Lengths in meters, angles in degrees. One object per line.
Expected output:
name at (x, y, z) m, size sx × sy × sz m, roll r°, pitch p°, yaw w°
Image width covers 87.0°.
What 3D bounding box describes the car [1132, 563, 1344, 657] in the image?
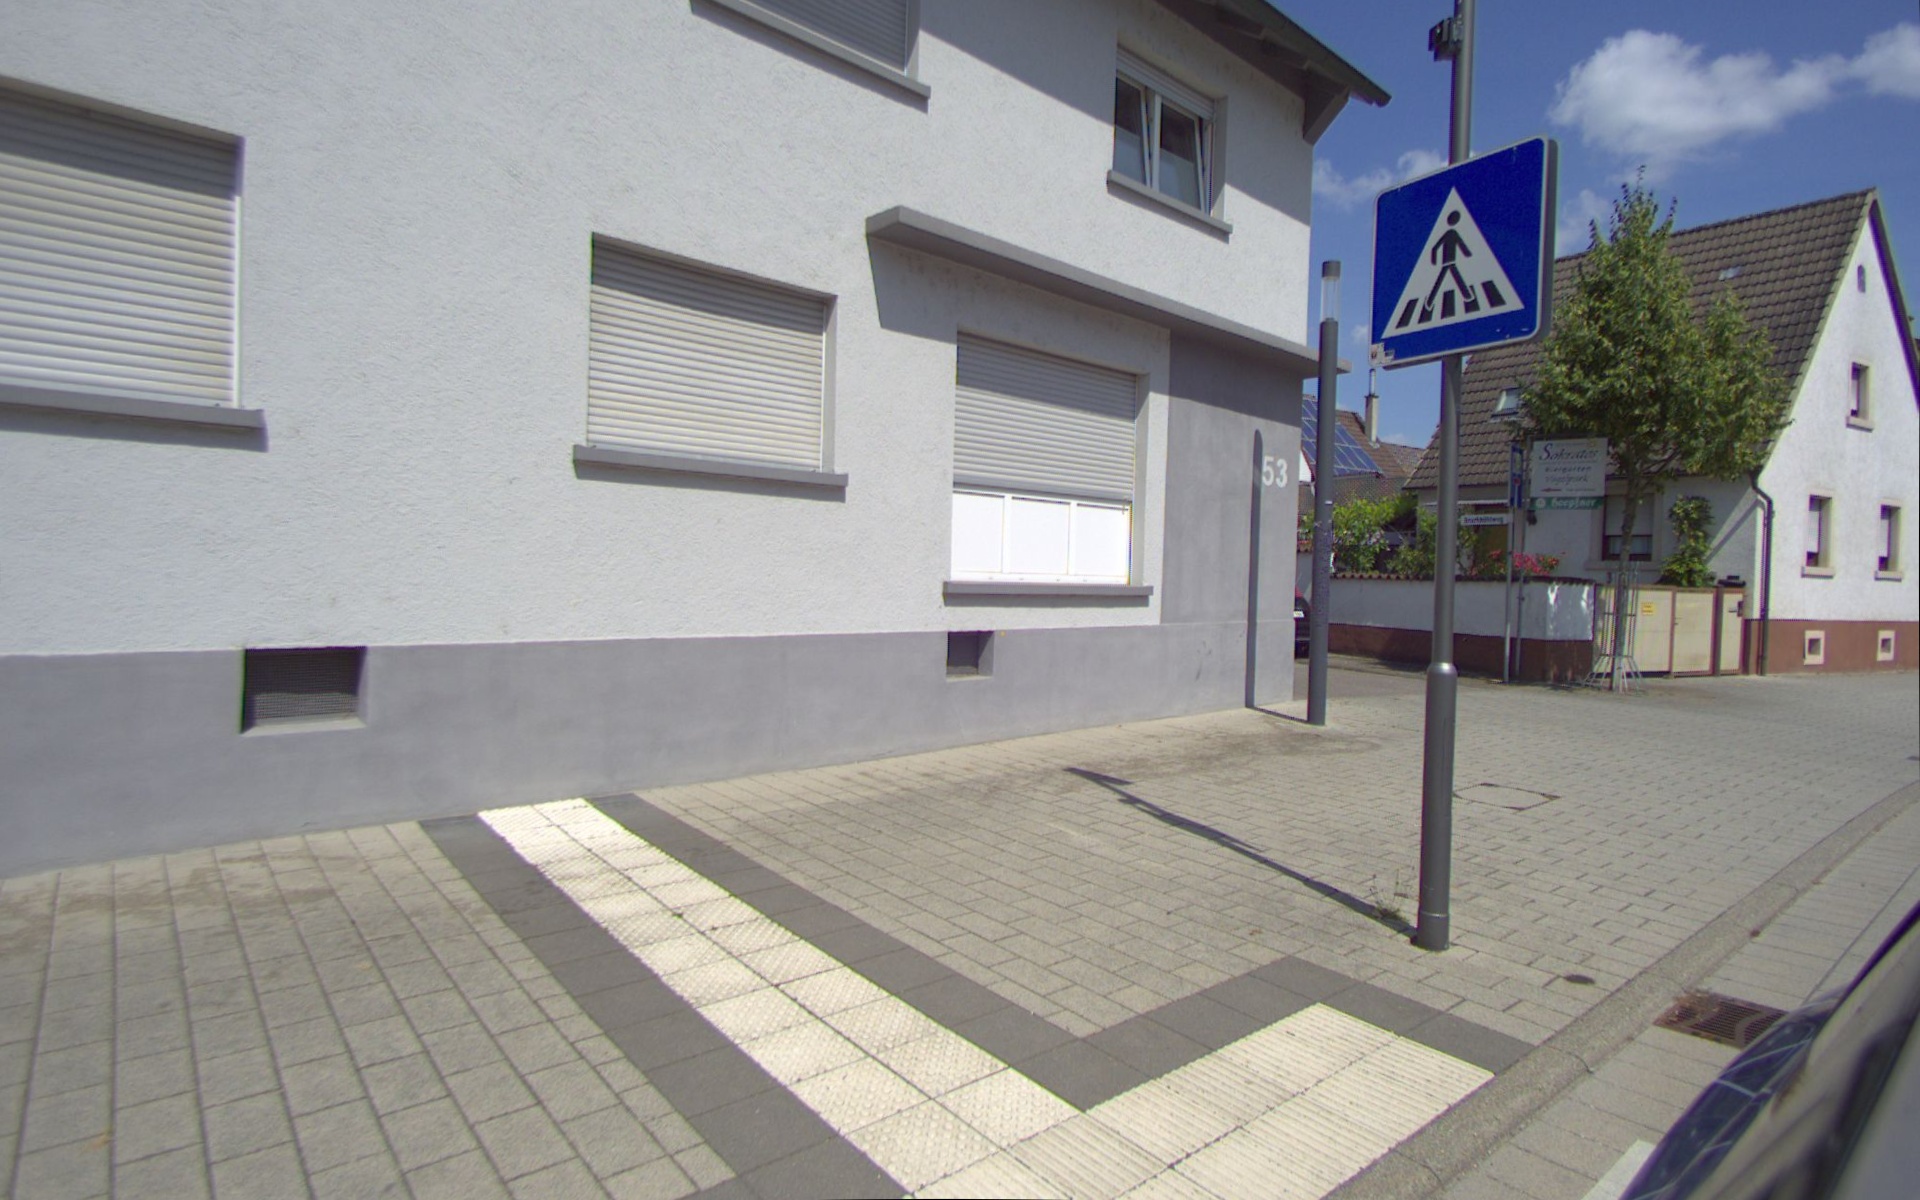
car at (5.042, 0.101, 18.849) m, size 1.645 × 1.538 × 3.821 m, roll 0°, pitch 2°, yaw -27°
